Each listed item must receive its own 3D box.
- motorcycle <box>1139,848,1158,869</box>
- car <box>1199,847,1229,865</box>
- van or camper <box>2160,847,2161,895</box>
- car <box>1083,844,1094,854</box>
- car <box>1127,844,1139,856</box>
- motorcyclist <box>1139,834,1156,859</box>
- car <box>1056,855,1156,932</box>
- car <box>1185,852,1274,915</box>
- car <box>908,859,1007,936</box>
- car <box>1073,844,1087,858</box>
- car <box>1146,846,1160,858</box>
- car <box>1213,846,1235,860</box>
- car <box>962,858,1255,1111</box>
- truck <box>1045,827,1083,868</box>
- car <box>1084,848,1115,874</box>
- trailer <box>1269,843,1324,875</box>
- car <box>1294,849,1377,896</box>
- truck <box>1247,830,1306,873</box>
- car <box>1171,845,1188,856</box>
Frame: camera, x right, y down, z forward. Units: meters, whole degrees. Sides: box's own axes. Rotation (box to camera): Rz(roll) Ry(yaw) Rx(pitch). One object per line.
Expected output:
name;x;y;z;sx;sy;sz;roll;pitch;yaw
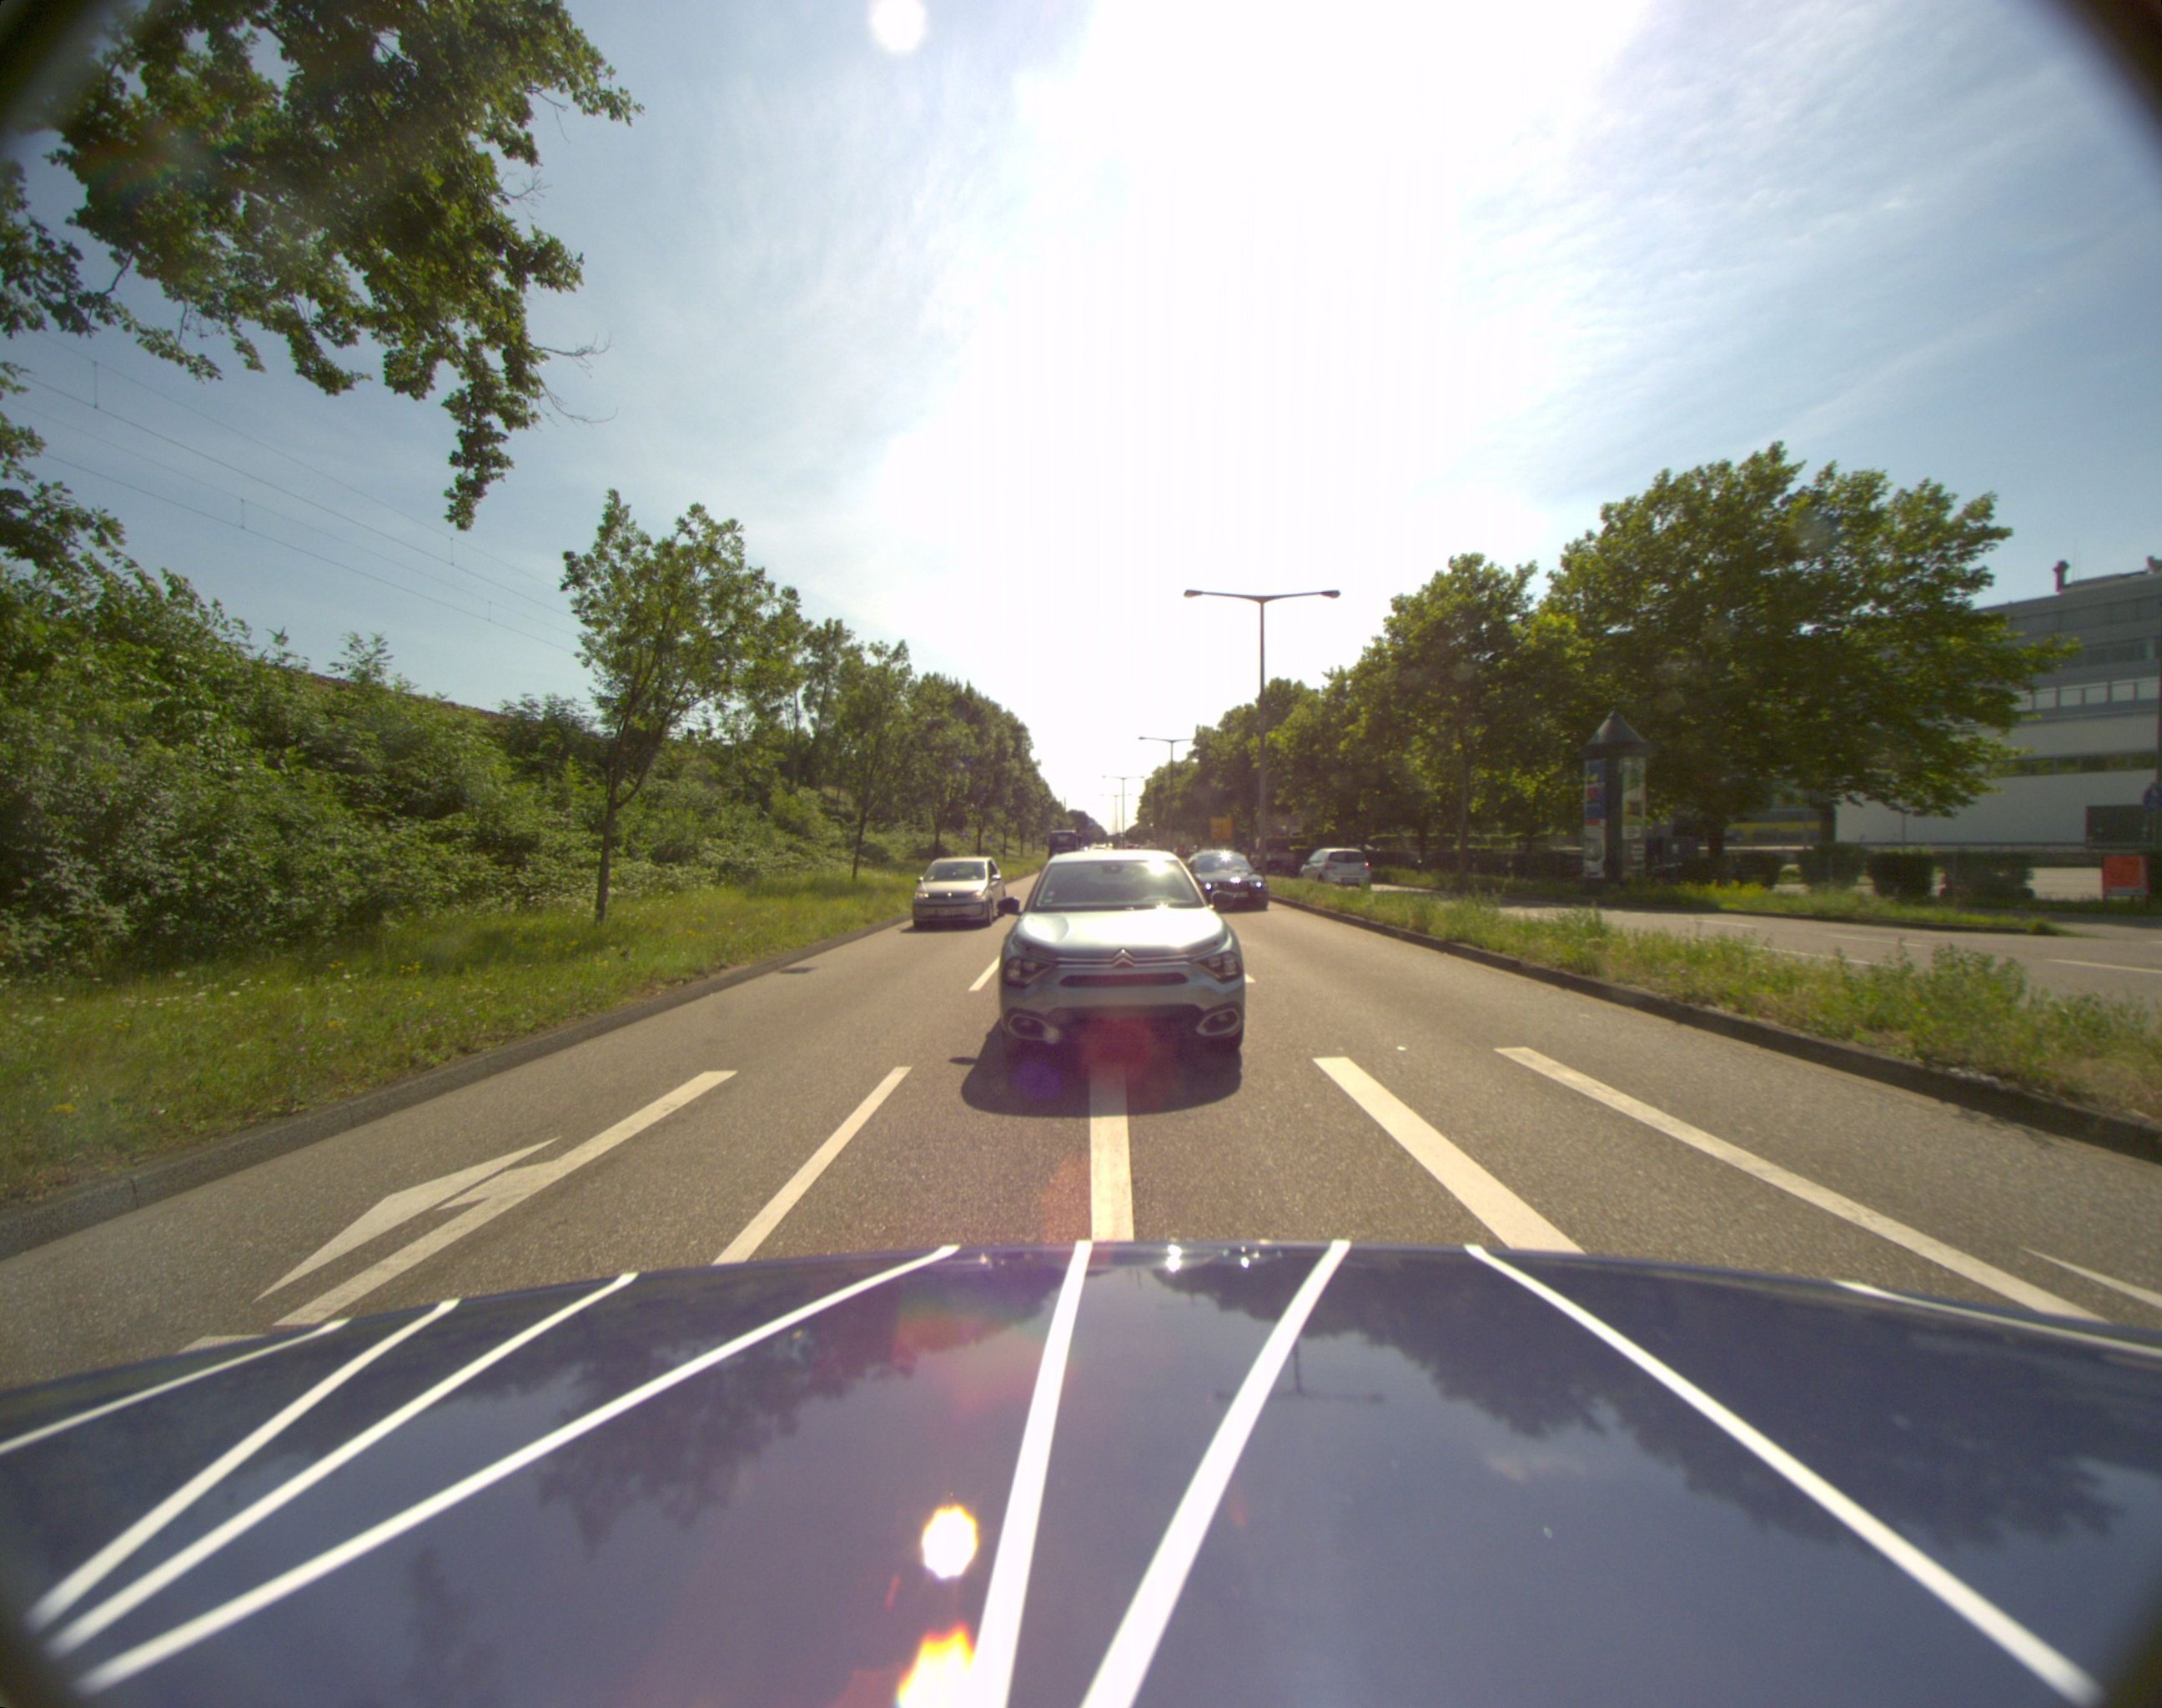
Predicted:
motorcycle;4.639;0.294;52.453;1.052;1.343;2.331;-1;1;0
car;11.234;0.183;64.281;1.852;1.426;3.767;0;0;0
van or camper;39.508;0.598;25.026;2.004;1.682;4.500;-1;1;-37
car;1.524;-1.069;151.635;1.998;2.002;4.000;-1;1;1
car;9.232;-0.725;135.865;1.998;2.002;4.000;-1;1;1
motorcyclist;4.611;-0.498;52.714;1.066;1.689;1.042;-1;1;0
car;0.524;0.800;17.222;1.998;1.492;4.000;-1;1;1
car;3.859;0.675;19.225;1.728;1.354;4.072;-2;1;18
car;-2.649;0.886;17.049;1.705;1.429;3.677;-2;1;-2
car;-0.137;-0.427;107.882;1.998;2.002;4.000;-1;1;1
car;11.812;-0.347;124.313;1.998;2.002;4.000;-1;1;1
car;14.836;-0.145;78.984;1.843;1.415;3.895;1;1;4
car;0.258;0.840;7.150;1.826;1.521;4.751;-1;1;2
truck;-1.337;-0.536;63.986;2.775;3.248;7.482;0;1;1
car;1.180;0.386;47.896;1.826;1.521;4.547;-1;1;2
trailer;11.909;0.242;42.174;2.066;1.706;3.991;-1;1;3
car;8.730;0.583;26.369;1.653;1.505;3.735;-1;1;1
truck;12.148;-0.165;47.747;2.144;2.461;7.129;-1;1;2
car;14.006;-0.525;108.238;1.844;1.414;4.221;1;1;0
